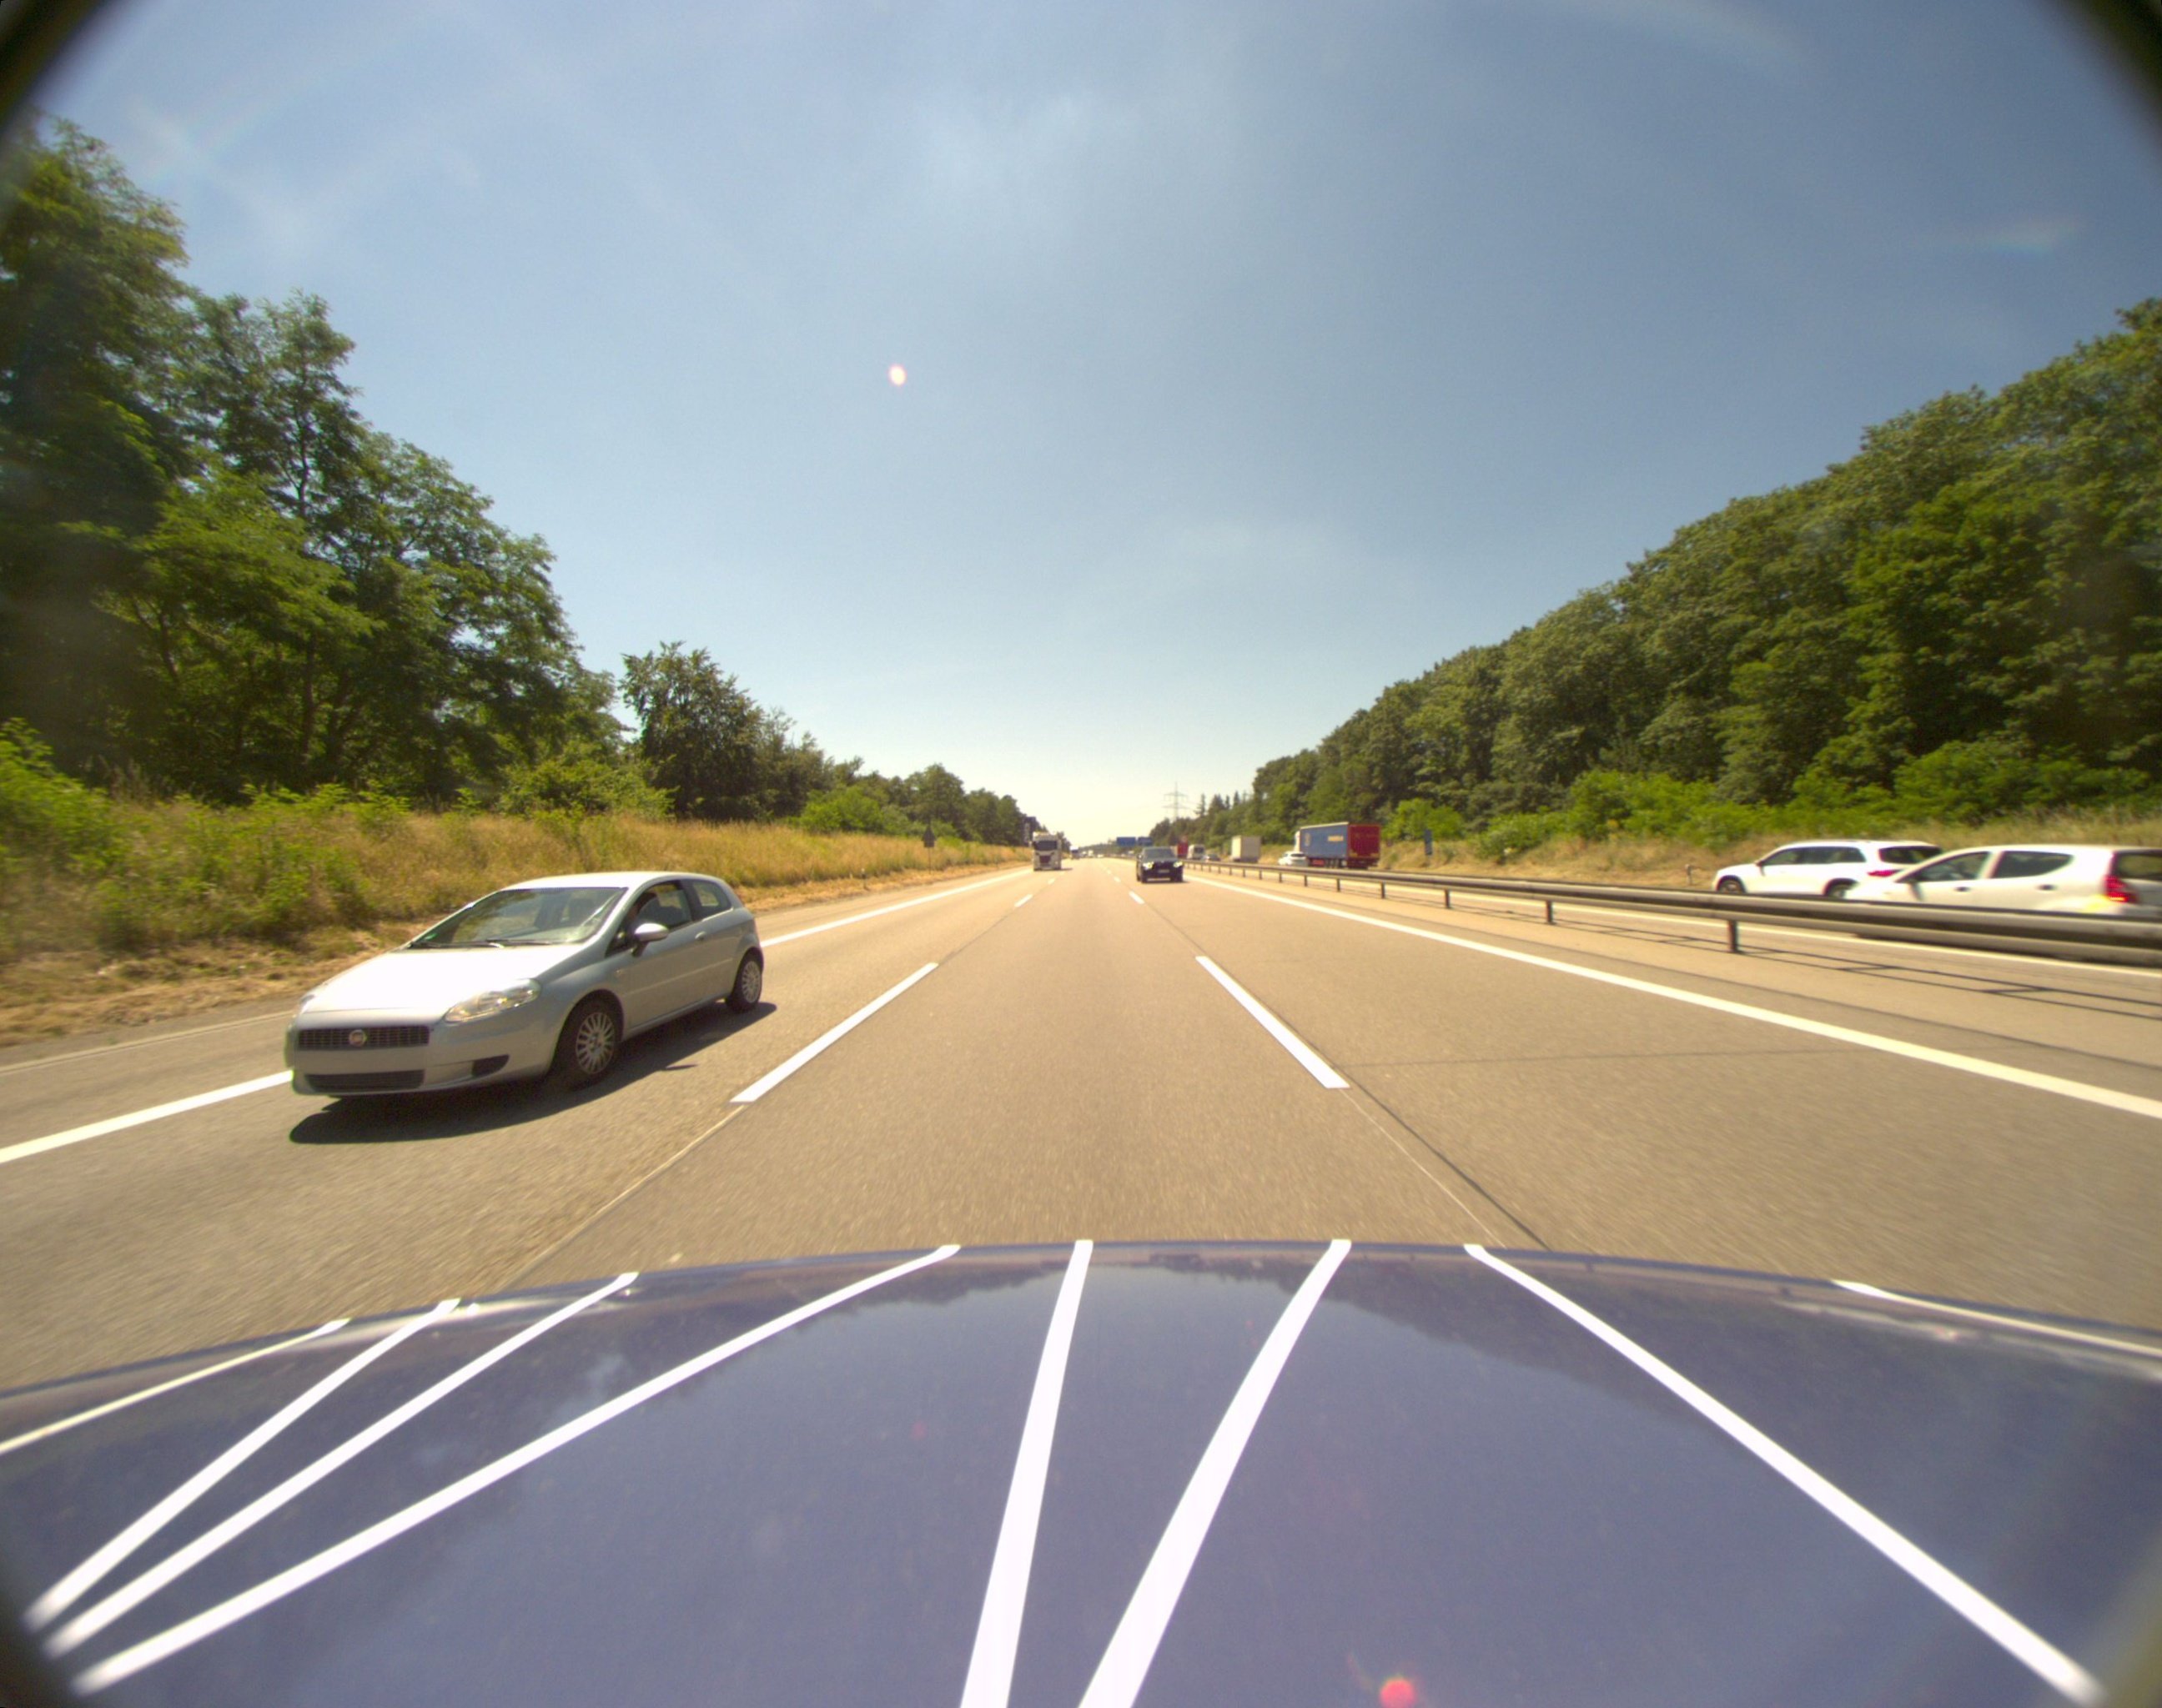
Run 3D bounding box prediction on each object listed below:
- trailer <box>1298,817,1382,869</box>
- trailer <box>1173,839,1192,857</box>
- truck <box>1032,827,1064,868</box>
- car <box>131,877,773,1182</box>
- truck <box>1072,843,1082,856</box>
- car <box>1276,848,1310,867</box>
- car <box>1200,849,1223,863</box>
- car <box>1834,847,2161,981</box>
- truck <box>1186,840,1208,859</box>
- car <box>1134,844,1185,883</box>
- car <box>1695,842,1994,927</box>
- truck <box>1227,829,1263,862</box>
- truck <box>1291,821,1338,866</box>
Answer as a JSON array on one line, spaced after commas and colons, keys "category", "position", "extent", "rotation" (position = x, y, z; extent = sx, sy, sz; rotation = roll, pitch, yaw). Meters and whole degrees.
[{"category": "trailer", "position": [22.010, -0.902, 65.855], "extent": [2.511, 3.991, 14.366], "rotation": [2, 1, 1]}, {"category": "trailer", "position": [24.640, -1.417, 185.156], "extent": [2.819, 4.095, 14.547], "rotation": [2, 0, 0]}, {"category": "truck", "position": [-3.218, -0.592, 75.281], "extent": [2.605, 3.811, 5.969], "rotation": [-2, 0, 1]}, {"category": "car", "position": [-4.249, 1.026, 6.145], "extent": [1.749, 1.457, 3.980], "rotation": [-2, 1, 1]}, {"category": "truck", "position": [-1.222, -1.364, 226.229], "extent": [2.593, 3.534, 8.649], "rotation": [-2, 0, 1]}, {"category": "car", "position": [17.982, 0.263, 64.585], "extent": [1.608, 1.550, 4.469], "rotation": [2, 1, 1]}, {"category": "car", "position": [14.178, 0.219, 82.711], "extent": [1.608, 1.391, 4.544], "rotation": [2, 1, 0]}, {"category": "car", "position": [12.587, 0.662, 10.093], "extent": [1.520, 1.459, 3.639], "rotation": [2, 1, 1]}, {"category": "truck", "position": [16.937, -0.638, 111.488], "extent": [2.088, 2.608, 8.030], "rotation": [2, 1, 1]}, {"category": "car", "position": [3.887, 0.450, 38.498], "extent": [1.945, 1.742, 5.813], "rotation": [-2, 0, 0]}, {"category": "car", "position": [17.097, 0.581, 17.516], "extent": [1.731, 1.636, 5.088], "rotation": [2, 1, 0]}, {"category": "truck", "position": [19.022, -0.946, 88.416], "extent": [2.463, 3.585, 8.119], "rotation": [2, 1, 1]}, {"category": "truck", "position": [22.112, -0.958, 72.164], "extent": [2.511, 3.991, 6.124], "rotation": [2, 1, 1]}]
